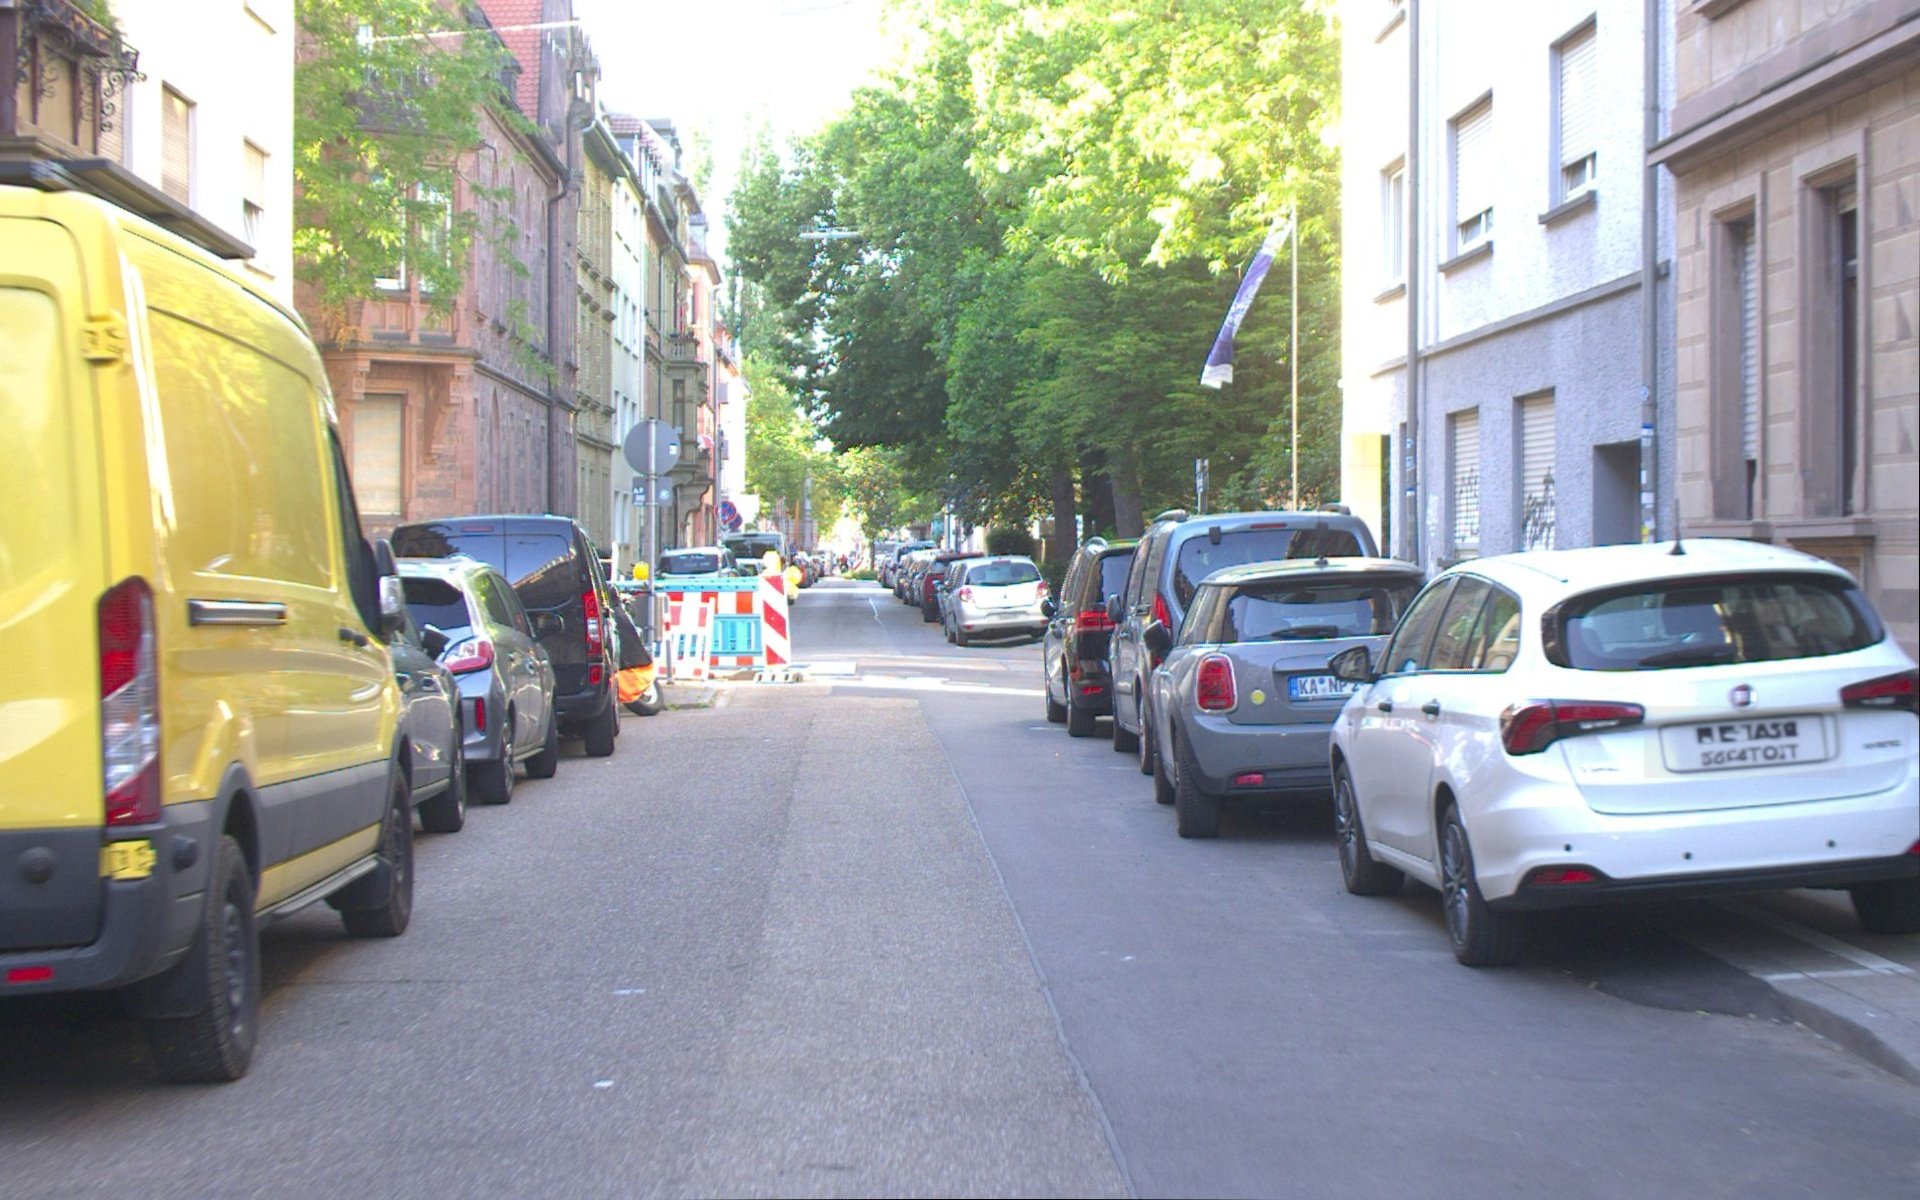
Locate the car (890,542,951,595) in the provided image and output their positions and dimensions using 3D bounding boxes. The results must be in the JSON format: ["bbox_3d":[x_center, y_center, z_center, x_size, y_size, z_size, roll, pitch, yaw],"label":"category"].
[{"bbox_3d":[-1.307,-1.046,112.191,1.829,1.698,4.001,0,1,-3],"label":"car"}]

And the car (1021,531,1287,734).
[{"bbox_3d":[1.606,0.247,29.900,1.900,1.634,4.391,0,0,-2],"label":"car"}]

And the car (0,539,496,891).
[{"bbox_3d":[-3.516,0.474,17.206,1.993,1.546,4.001,0,1,-2],"label":"car"}]

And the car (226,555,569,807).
[{"bbox_3d":[-3.497,0.452,21.923,1.677,1.444,3.645,1,1,-2],"label":"car"}]

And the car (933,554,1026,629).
[{"bbox_3d":[0.406,-0.218,75.773,1.841,1.590,4.001,0,1,-2],"label":"car"}]

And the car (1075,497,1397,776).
[{"bbox_3d":[1.918,0.192,25.234,1.753,1.780,4.724,-3,1,-2],"label":"car"}]

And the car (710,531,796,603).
[{"bbox_3d":[-6.188,-0.984,103.336,2.309,2.107,5.170,0,0,-1],"label":"car"}]

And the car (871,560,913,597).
[{"bbox_3d":[-3.351,-1.064,168.693,1.993,1.722,4.000,0,1,-2],"label":"car"}]

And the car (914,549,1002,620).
[{"bbox_3d":[-0.067,-0.368,80.593,1.894,1.620,4.000,0,0,-3],"label":"car"}]

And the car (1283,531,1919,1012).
[{"bbox_3d":[2.542,0.539,13.922,1.753,1.513,4.444,-4,1,-3],"label":"car"}]

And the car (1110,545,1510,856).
[{"bbox_3d":[1.891,0.485,19.798,1.754,1.448,4.288,-4,1,0],"label":"car"}]

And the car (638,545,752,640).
[{"bbox_3d":[-5.004,-0.155,65.292,1.882,1.701,4.000,-1,0,-1],"label":"car"}]

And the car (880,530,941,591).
[{"bbox_3d":[-1.908,-1.490,130.775,2.160,2.248,4.526,0,0,-3],"label":"car"}]

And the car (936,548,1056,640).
[{"bbox_3d":[0.588,-0.128,59.405,1.723,1.517,4.001,0,1,-4],"label":"car"}]

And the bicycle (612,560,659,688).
[{"bbox_3d":[-3.279,0.233,34.808,0.399,1.223,1.505,0,2,-3],"label":"bicycle"}]

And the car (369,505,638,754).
[{"bbox_3d":[-3.427,0.183,26.469,1.818,1.760,4.336,0,1,-5],"label":"car"}]

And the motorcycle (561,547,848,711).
[{"bbox_3d":[-2.376,0.261,32.066,2.512,1.477,0.904,0,1,-28],"label":"motorcycle"}]

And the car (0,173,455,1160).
[{"bbox_3d":[-3.174,0.157,11.675,2.175,2.499,5.879,-2,1,-2],"label":"car"}]
